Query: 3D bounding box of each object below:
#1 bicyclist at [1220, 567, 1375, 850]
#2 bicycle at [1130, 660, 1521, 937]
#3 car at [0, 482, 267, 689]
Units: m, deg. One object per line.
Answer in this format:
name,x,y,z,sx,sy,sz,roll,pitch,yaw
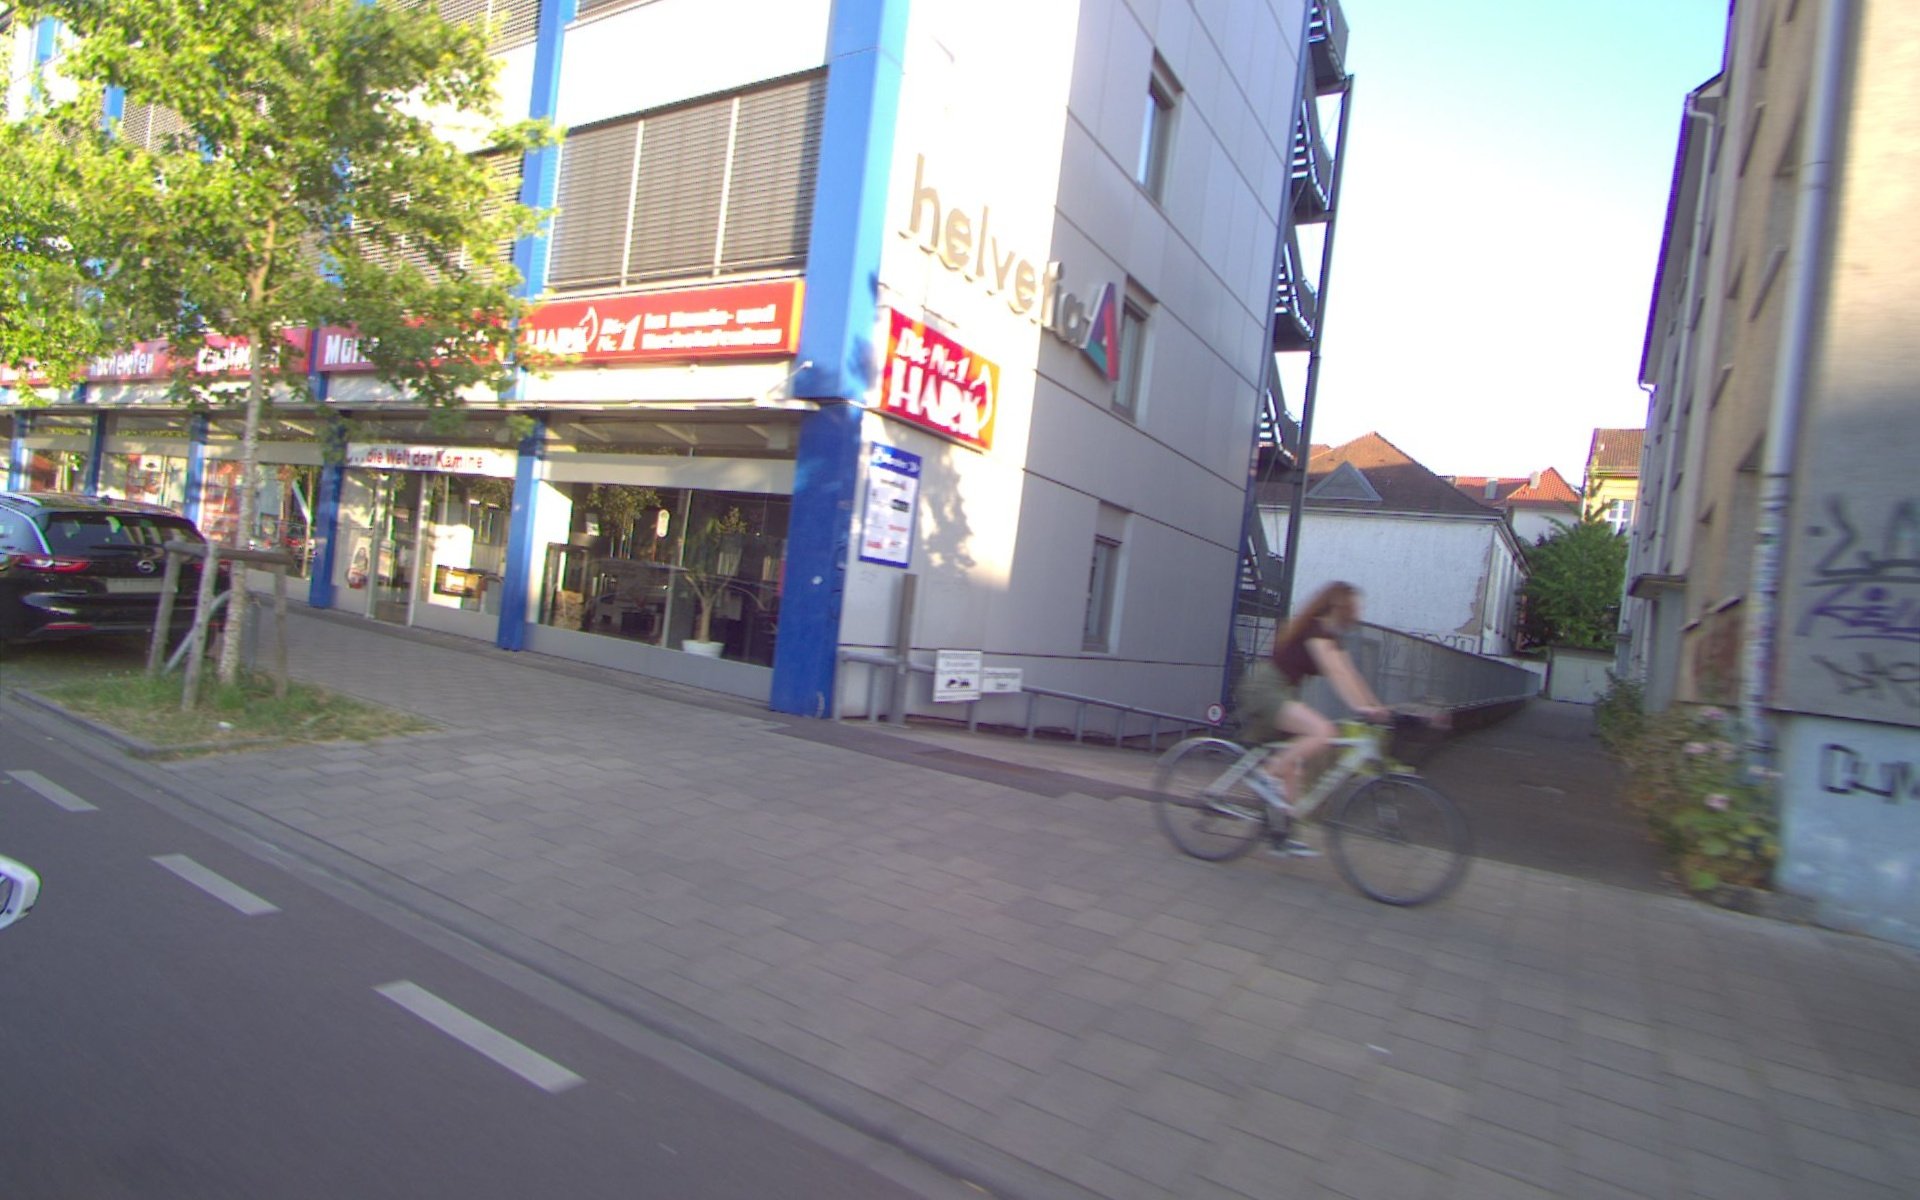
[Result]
bicyclist,1.954,0.591,5.814,0.612,1.496,0.558,7,3,30
bicycle,2.039,1.038,5.761,1.941,1.145,0.554,6,3,30
car,-9.039,-0.310,9.883,4.729,1.588,1.819,7,3,30
